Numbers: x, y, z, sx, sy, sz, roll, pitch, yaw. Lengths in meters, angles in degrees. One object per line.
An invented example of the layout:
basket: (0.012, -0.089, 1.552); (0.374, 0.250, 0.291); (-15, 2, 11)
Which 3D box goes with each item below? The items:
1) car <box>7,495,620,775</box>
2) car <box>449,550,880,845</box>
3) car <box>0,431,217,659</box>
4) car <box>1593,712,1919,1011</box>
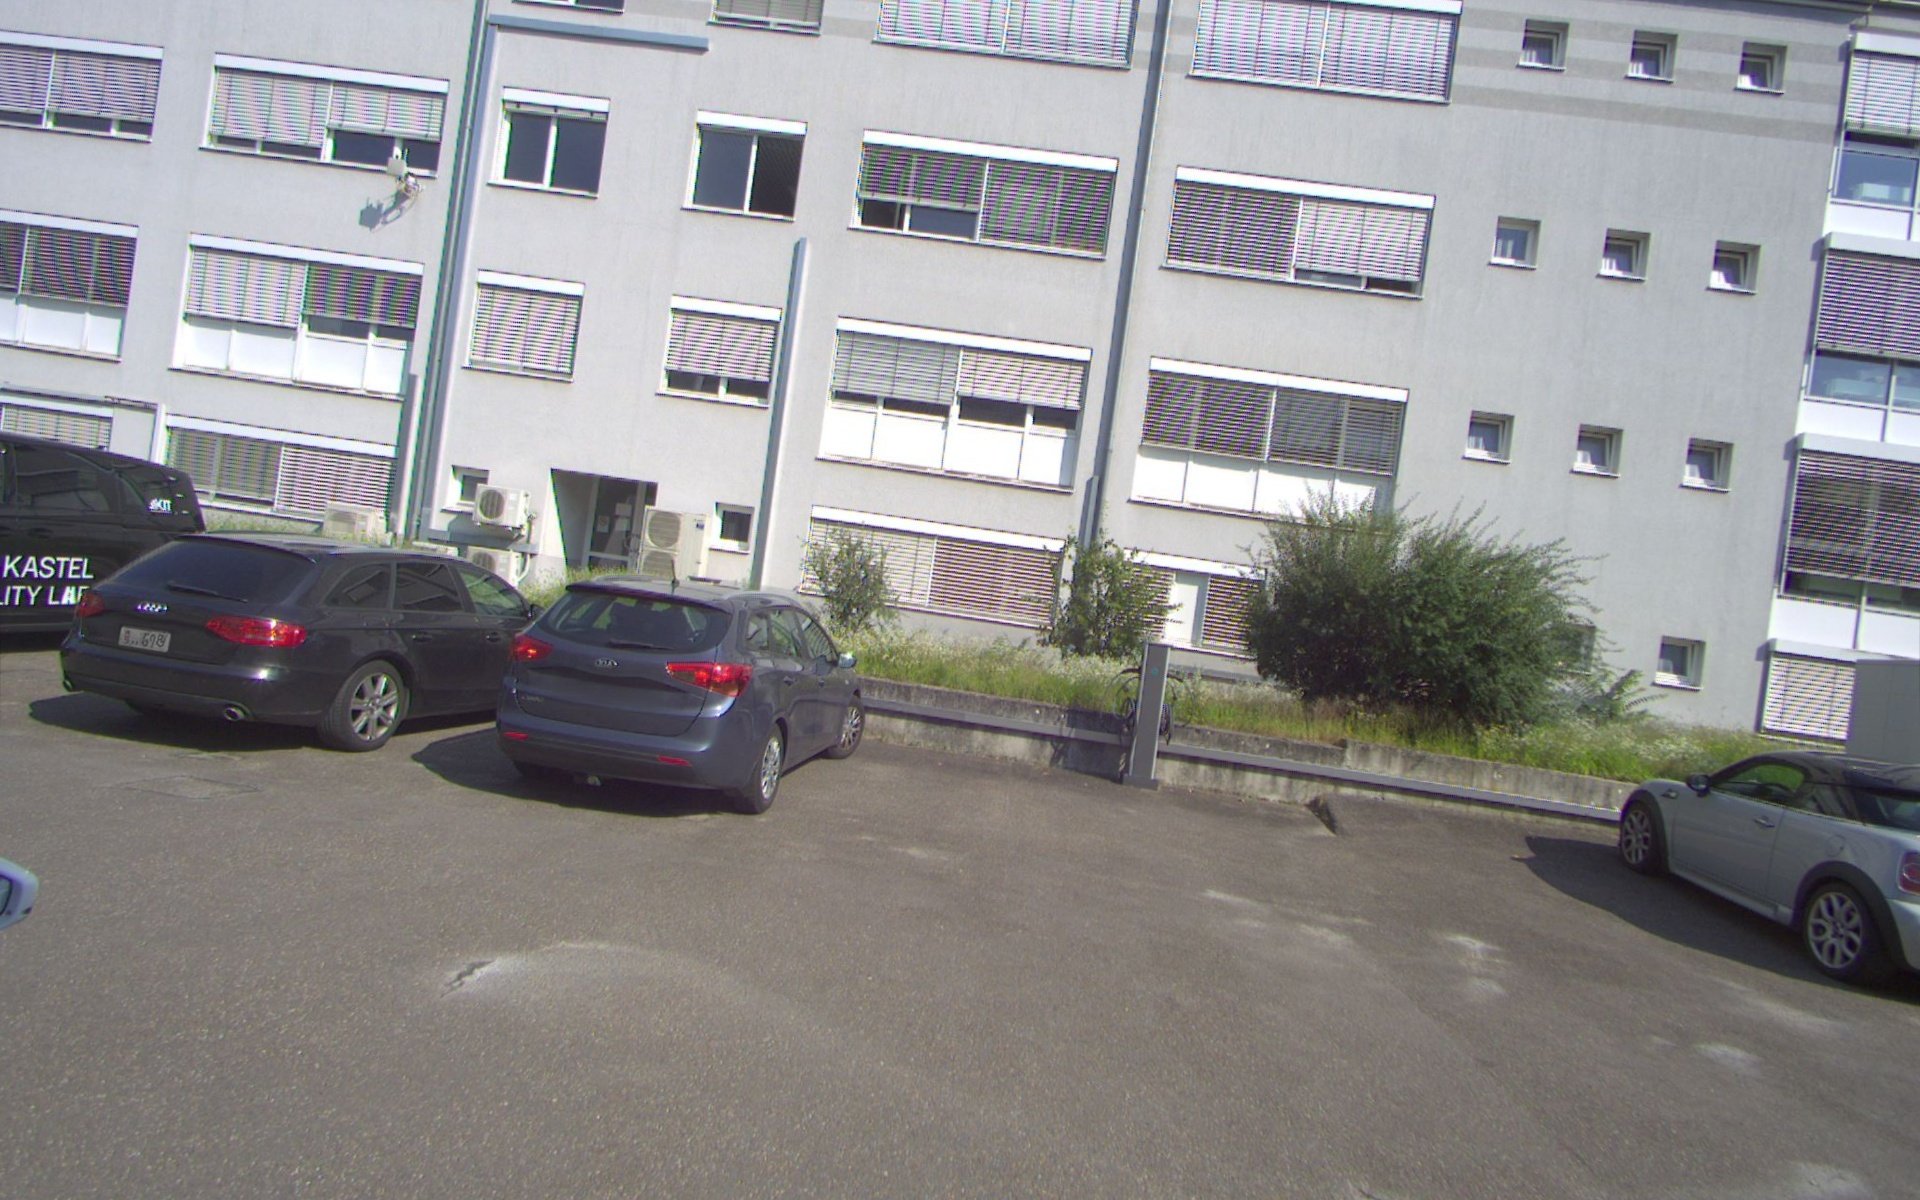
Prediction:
car: (-4.653, 0.272, 8.171); (1.658, 1.454, 4.250); (8, -1, 9)
car: (-1.933, 0.626, 7.982); (1.709, 1.495, 4.062); (8, -1, 6)
car: (-8.837, -0.580, 8.339); (1.880, 1.881, 4.349); (8, -1, 1)
car: (6.578, 1.822, 7.503); (1.627, 1.454, 3.584); (8, -1, 8)
